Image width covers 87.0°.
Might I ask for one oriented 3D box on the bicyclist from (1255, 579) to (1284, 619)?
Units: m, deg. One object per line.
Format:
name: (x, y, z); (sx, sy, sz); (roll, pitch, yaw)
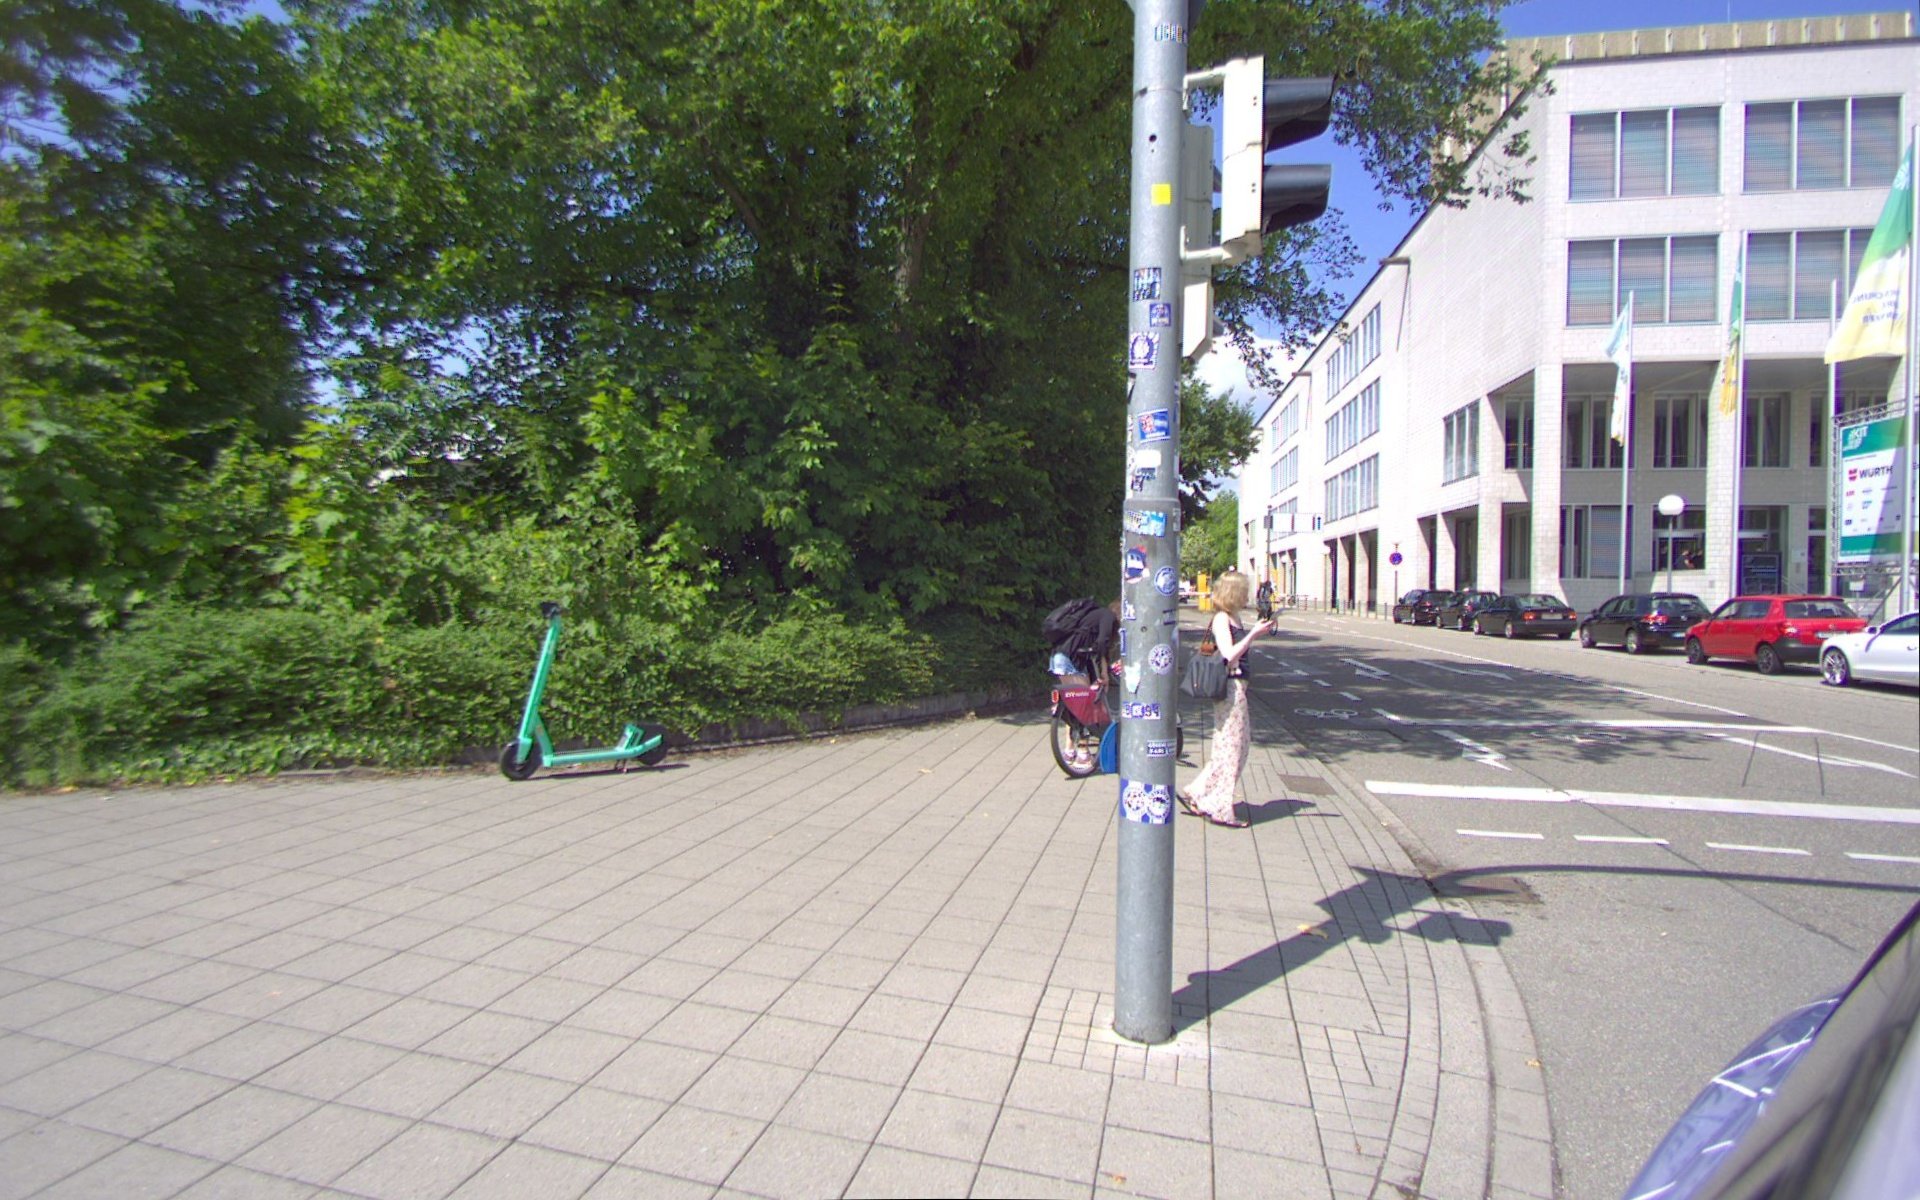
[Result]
bicyclist: (9.831, -0.036, 32.204); (0.606, 1.241, 0.834); (0, 0, -4)

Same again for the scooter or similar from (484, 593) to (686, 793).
scooter or similar: (-2.557, 0.584, 6.955); (1.209, 1.249, 0.437); (0, 2, -41)

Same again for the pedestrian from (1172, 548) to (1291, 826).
pedestrian: (1.736, 0.511, 6.431); (0.638, 1.647, 0.630); (0, 0, 25)

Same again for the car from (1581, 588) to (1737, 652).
car: (17.354, 0.432, 25.352); (1.714, 1.465, 3.919); (0, 1, 10)

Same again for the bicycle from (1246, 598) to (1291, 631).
bicycle: (9.821, 0.445, 32.333); (0.634, 1.011, 2.165); (0, 0, -4)

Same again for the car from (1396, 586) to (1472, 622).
car: (19.416, 0.128, 41.635); (1.663, 1.414, 4.138); (0, 1, 7)

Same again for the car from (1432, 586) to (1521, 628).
car: (18.975, 0.219, 37.360); (1.770, 1.448, 3.709); (0, 1, 7)

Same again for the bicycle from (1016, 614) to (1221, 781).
bicycle: (1.292, 0.718, 8.065); (1.634, 1.157, 0.671); (1, 2, -41)

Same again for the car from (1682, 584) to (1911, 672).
car: (16.450, 0.479, 20.179); (1.743, 1.576, 3.809); (0, 1, 7)

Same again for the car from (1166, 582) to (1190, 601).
car: (19.836, -0.811, 92.235); (1.968, 1.649, 3.989); (1, 1, 10)

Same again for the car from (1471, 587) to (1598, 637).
car: (18.048, 0.330, 32.070); (1.968, 1.458, 4.392); (0, 1, 7)

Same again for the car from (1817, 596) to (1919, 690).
car: (15.423, 0.666, 15.186); (1.803, 1.415, 4.432); (1, 1, 8)

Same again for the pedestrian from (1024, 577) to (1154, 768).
pedestrian: (1.043, 0.548, 8.201); (0.774, 1.434, 0.655); (0, 2, -42)
